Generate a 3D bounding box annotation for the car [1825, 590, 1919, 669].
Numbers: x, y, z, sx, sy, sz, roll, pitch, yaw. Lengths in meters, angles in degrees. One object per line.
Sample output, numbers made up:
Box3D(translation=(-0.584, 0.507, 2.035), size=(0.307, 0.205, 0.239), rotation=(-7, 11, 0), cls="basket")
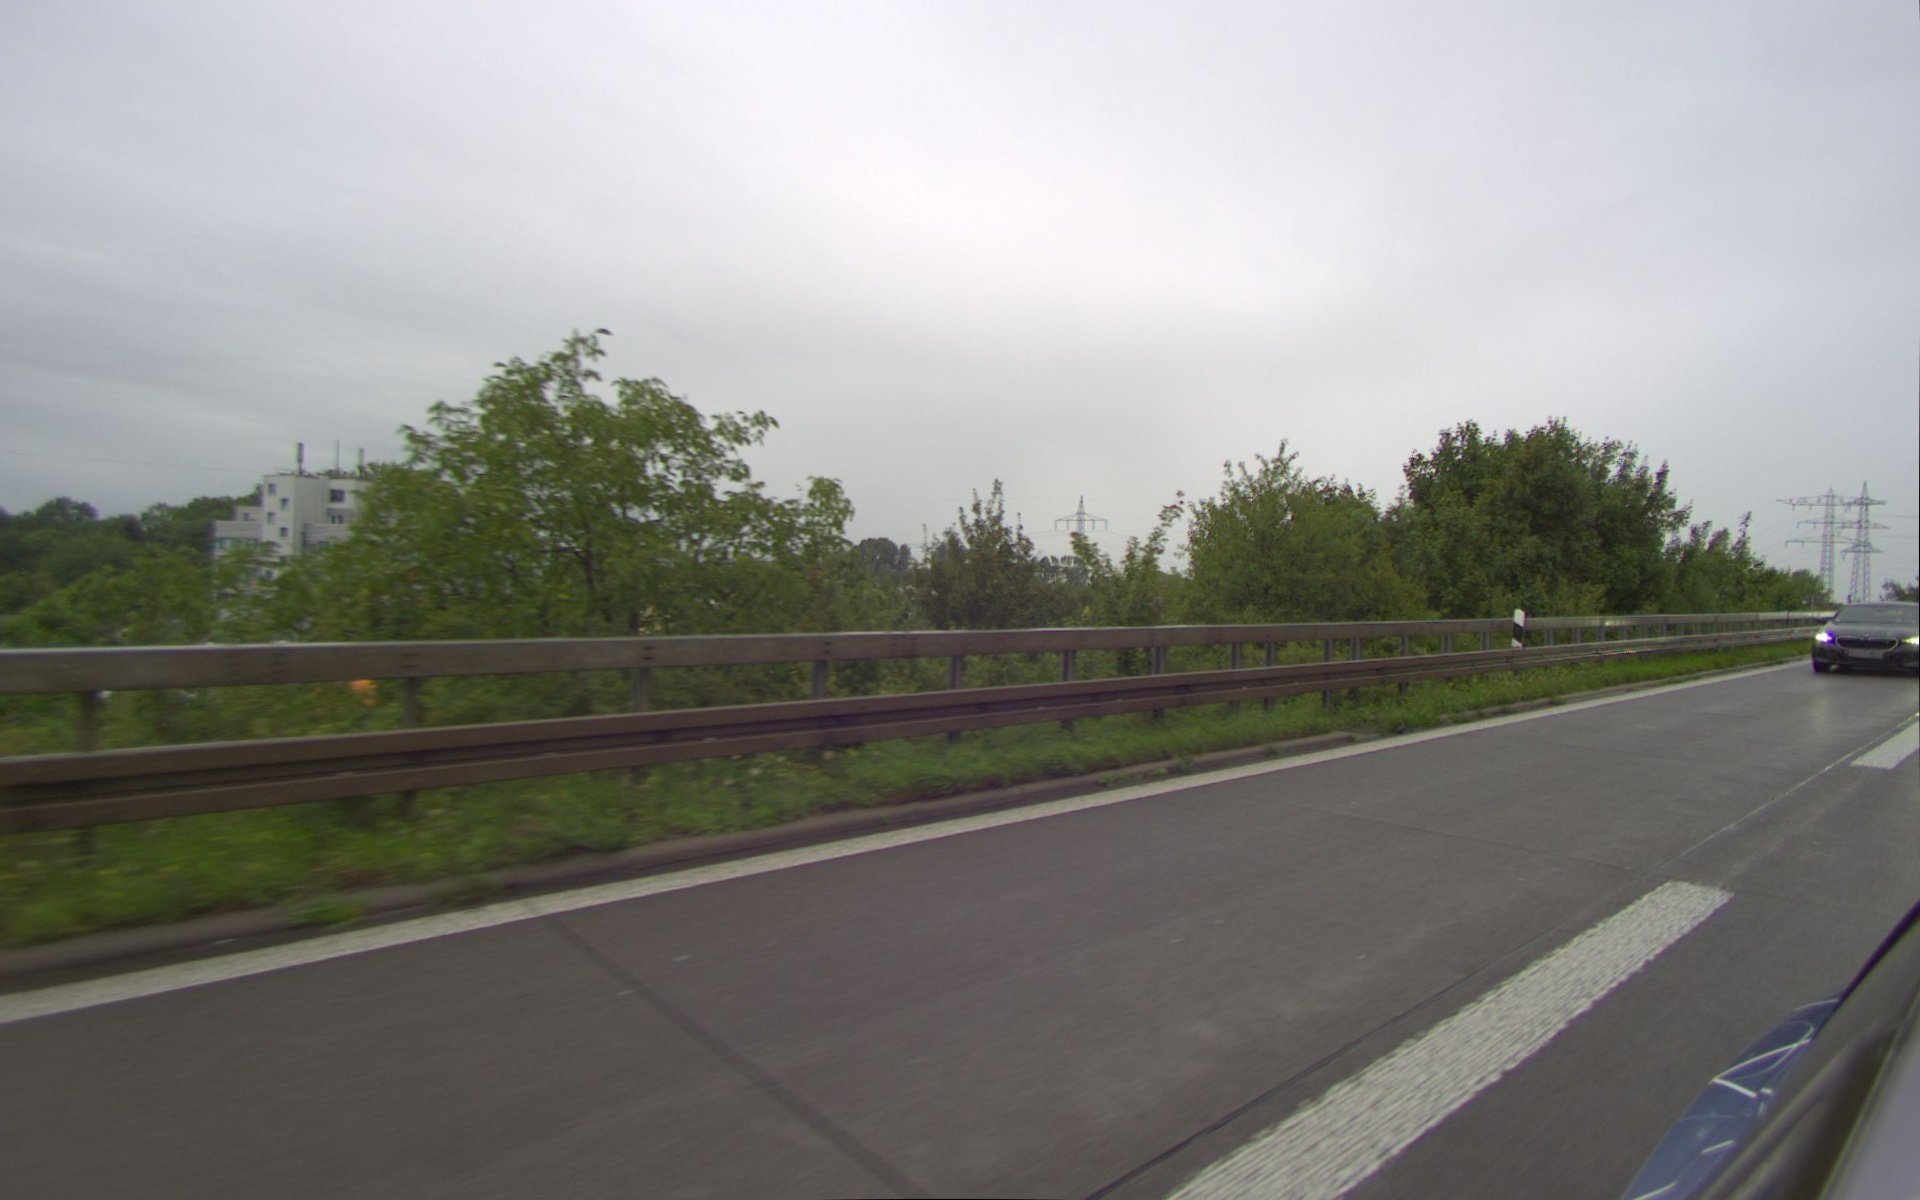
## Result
Box3D(translation=(20.104, 0.601, 21.705), size=(4.131, 1.560, 1.860), rotation=(1, -1, -42), cls="car")
